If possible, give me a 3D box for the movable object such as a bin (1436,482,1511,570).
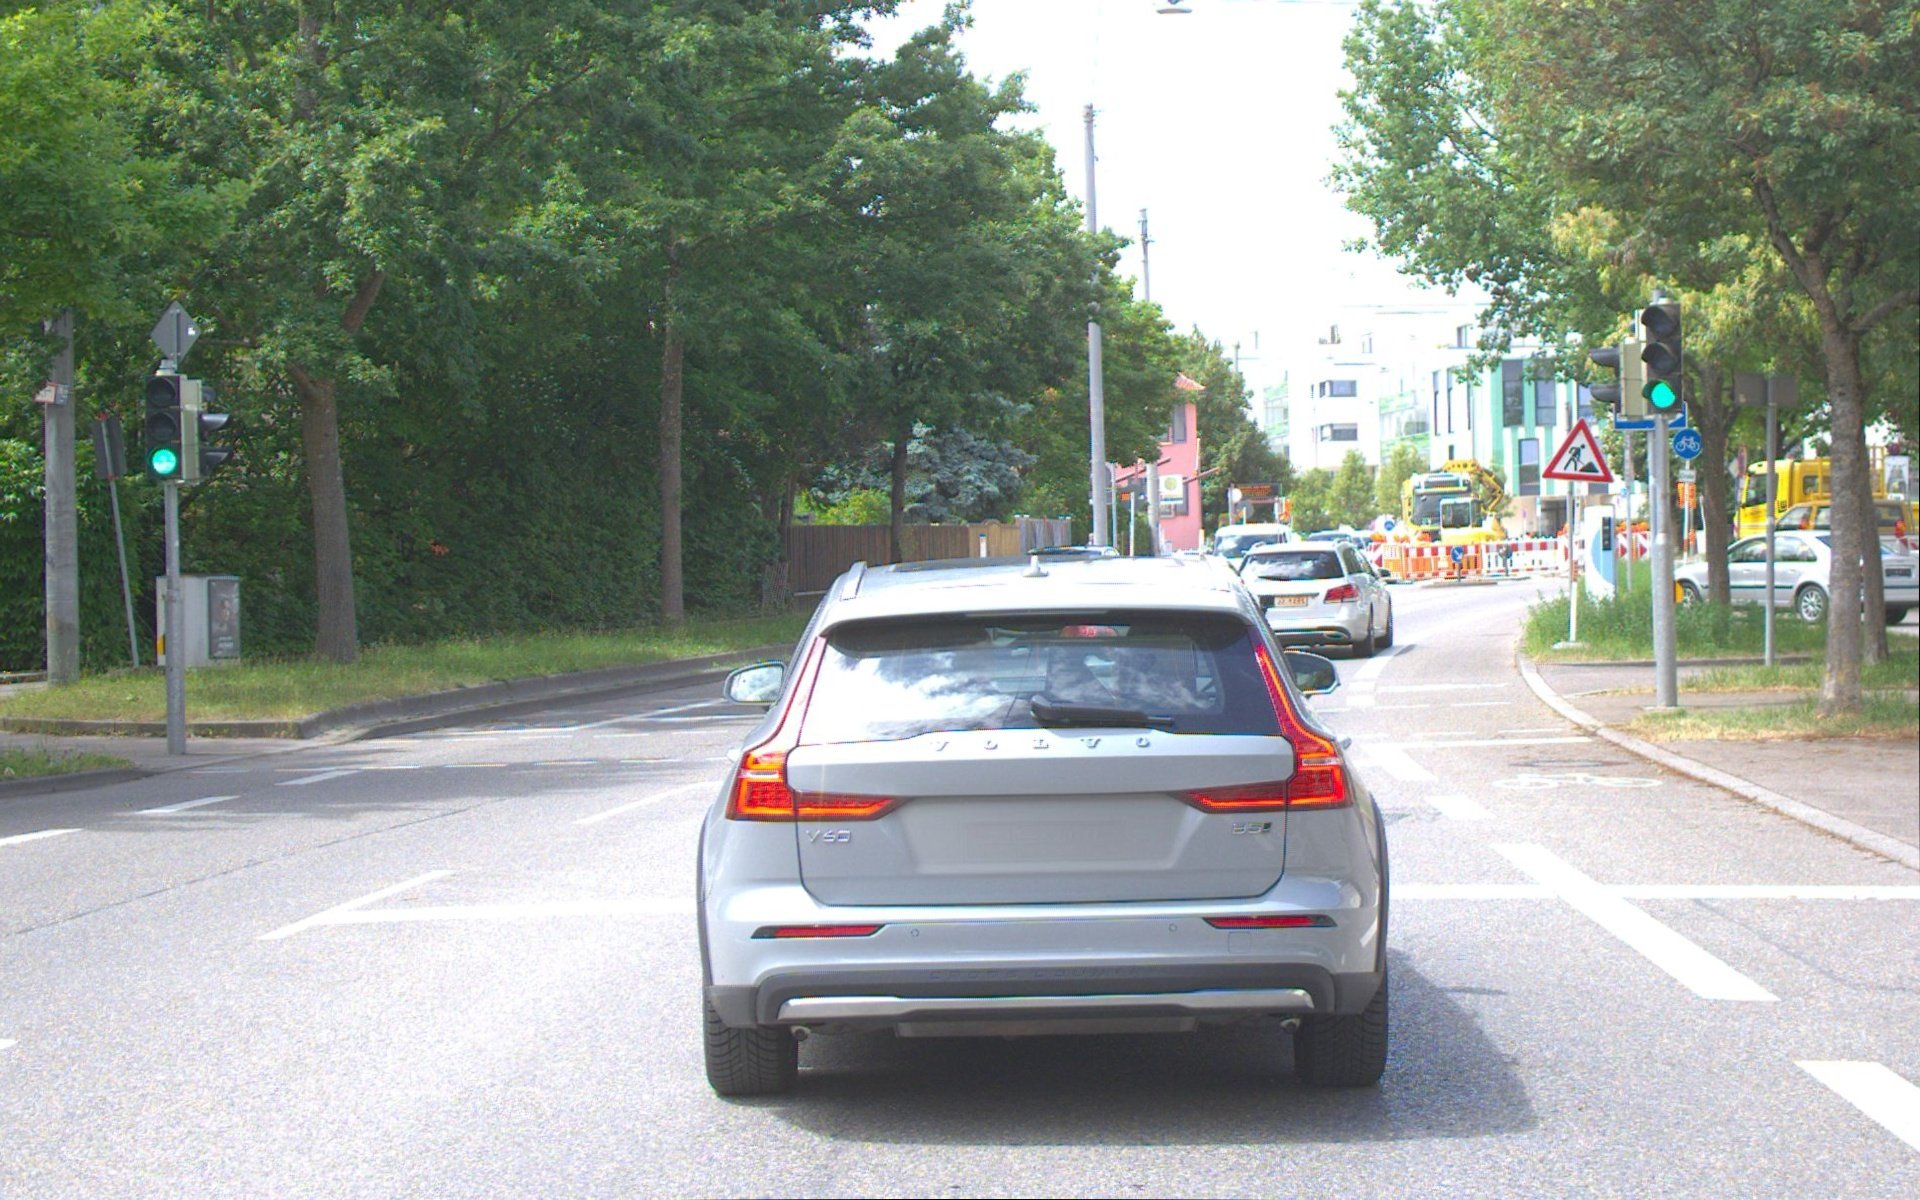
[{"bbox_3d":[16.243,-2.335,108.555,2.035,2.634,5.937,-1,1,11],"label":"movable object such as a bin"}]

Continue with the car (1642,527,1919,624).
[{"bbox_3d":[12.925,-0.409,53.573,1.762,1.447,4.689,-1,1,-32],"label":"car"}]

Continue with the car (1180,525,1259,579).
[{"bbox_3d":[8.633,-1.599,114.099,1.881,1.681,4.244,-3,1,14],"label":"car"}]

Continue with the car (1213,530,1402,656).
[{"bbox_3d":[4.526,-0.092,44.277,2.103,1.505,3.998,1,0,10],"label":"car"}]

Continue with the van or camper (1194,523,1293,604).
[{"bbox_3d":[6.512,-0.846,78.620,1.861,1.770,4.379,-1,1,9],"label":"van or camper"}]

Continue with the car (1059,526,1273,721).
[{"bbox_3d":[1.710,0.182,29.274,1.661,1.503,3.702,2,0,2],"label":"car"}]

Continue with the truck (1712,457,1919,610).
[{"bbox_3d":[18.796,-1.313,69.974,2.761,2.998,6.706,1,0,-34],"label":"truck"}]

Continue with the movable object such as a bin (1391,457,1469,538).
[{"bbox_3d":[17.999,-3.904,131.902,2.310,2.980,6.426,-2,1,3],"label":"movable object such as a bin"}]

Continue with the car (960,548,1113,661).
[{"bbox_3d":[1.204,0.061,52.046,1.899,1.574,3.999,-2,0,7],"label":"car"}]

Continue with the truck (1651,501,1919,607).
[{"bbox_3d":[16.543,-0.912,68.303,1.994,2.007,5.677,1,0,-35],"label":"truck"}]

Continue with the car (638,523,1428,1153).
[{"bbox_3d":[0.270,0.572,10.423,1.928,1.535,4.000,0,0,3],"label":"car"}]

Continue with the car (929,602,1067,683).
[{"bbox_3d":[0.701,0.758,60.075,1.829,1.325,3.998,1,-1,9],"label":"car"}]
